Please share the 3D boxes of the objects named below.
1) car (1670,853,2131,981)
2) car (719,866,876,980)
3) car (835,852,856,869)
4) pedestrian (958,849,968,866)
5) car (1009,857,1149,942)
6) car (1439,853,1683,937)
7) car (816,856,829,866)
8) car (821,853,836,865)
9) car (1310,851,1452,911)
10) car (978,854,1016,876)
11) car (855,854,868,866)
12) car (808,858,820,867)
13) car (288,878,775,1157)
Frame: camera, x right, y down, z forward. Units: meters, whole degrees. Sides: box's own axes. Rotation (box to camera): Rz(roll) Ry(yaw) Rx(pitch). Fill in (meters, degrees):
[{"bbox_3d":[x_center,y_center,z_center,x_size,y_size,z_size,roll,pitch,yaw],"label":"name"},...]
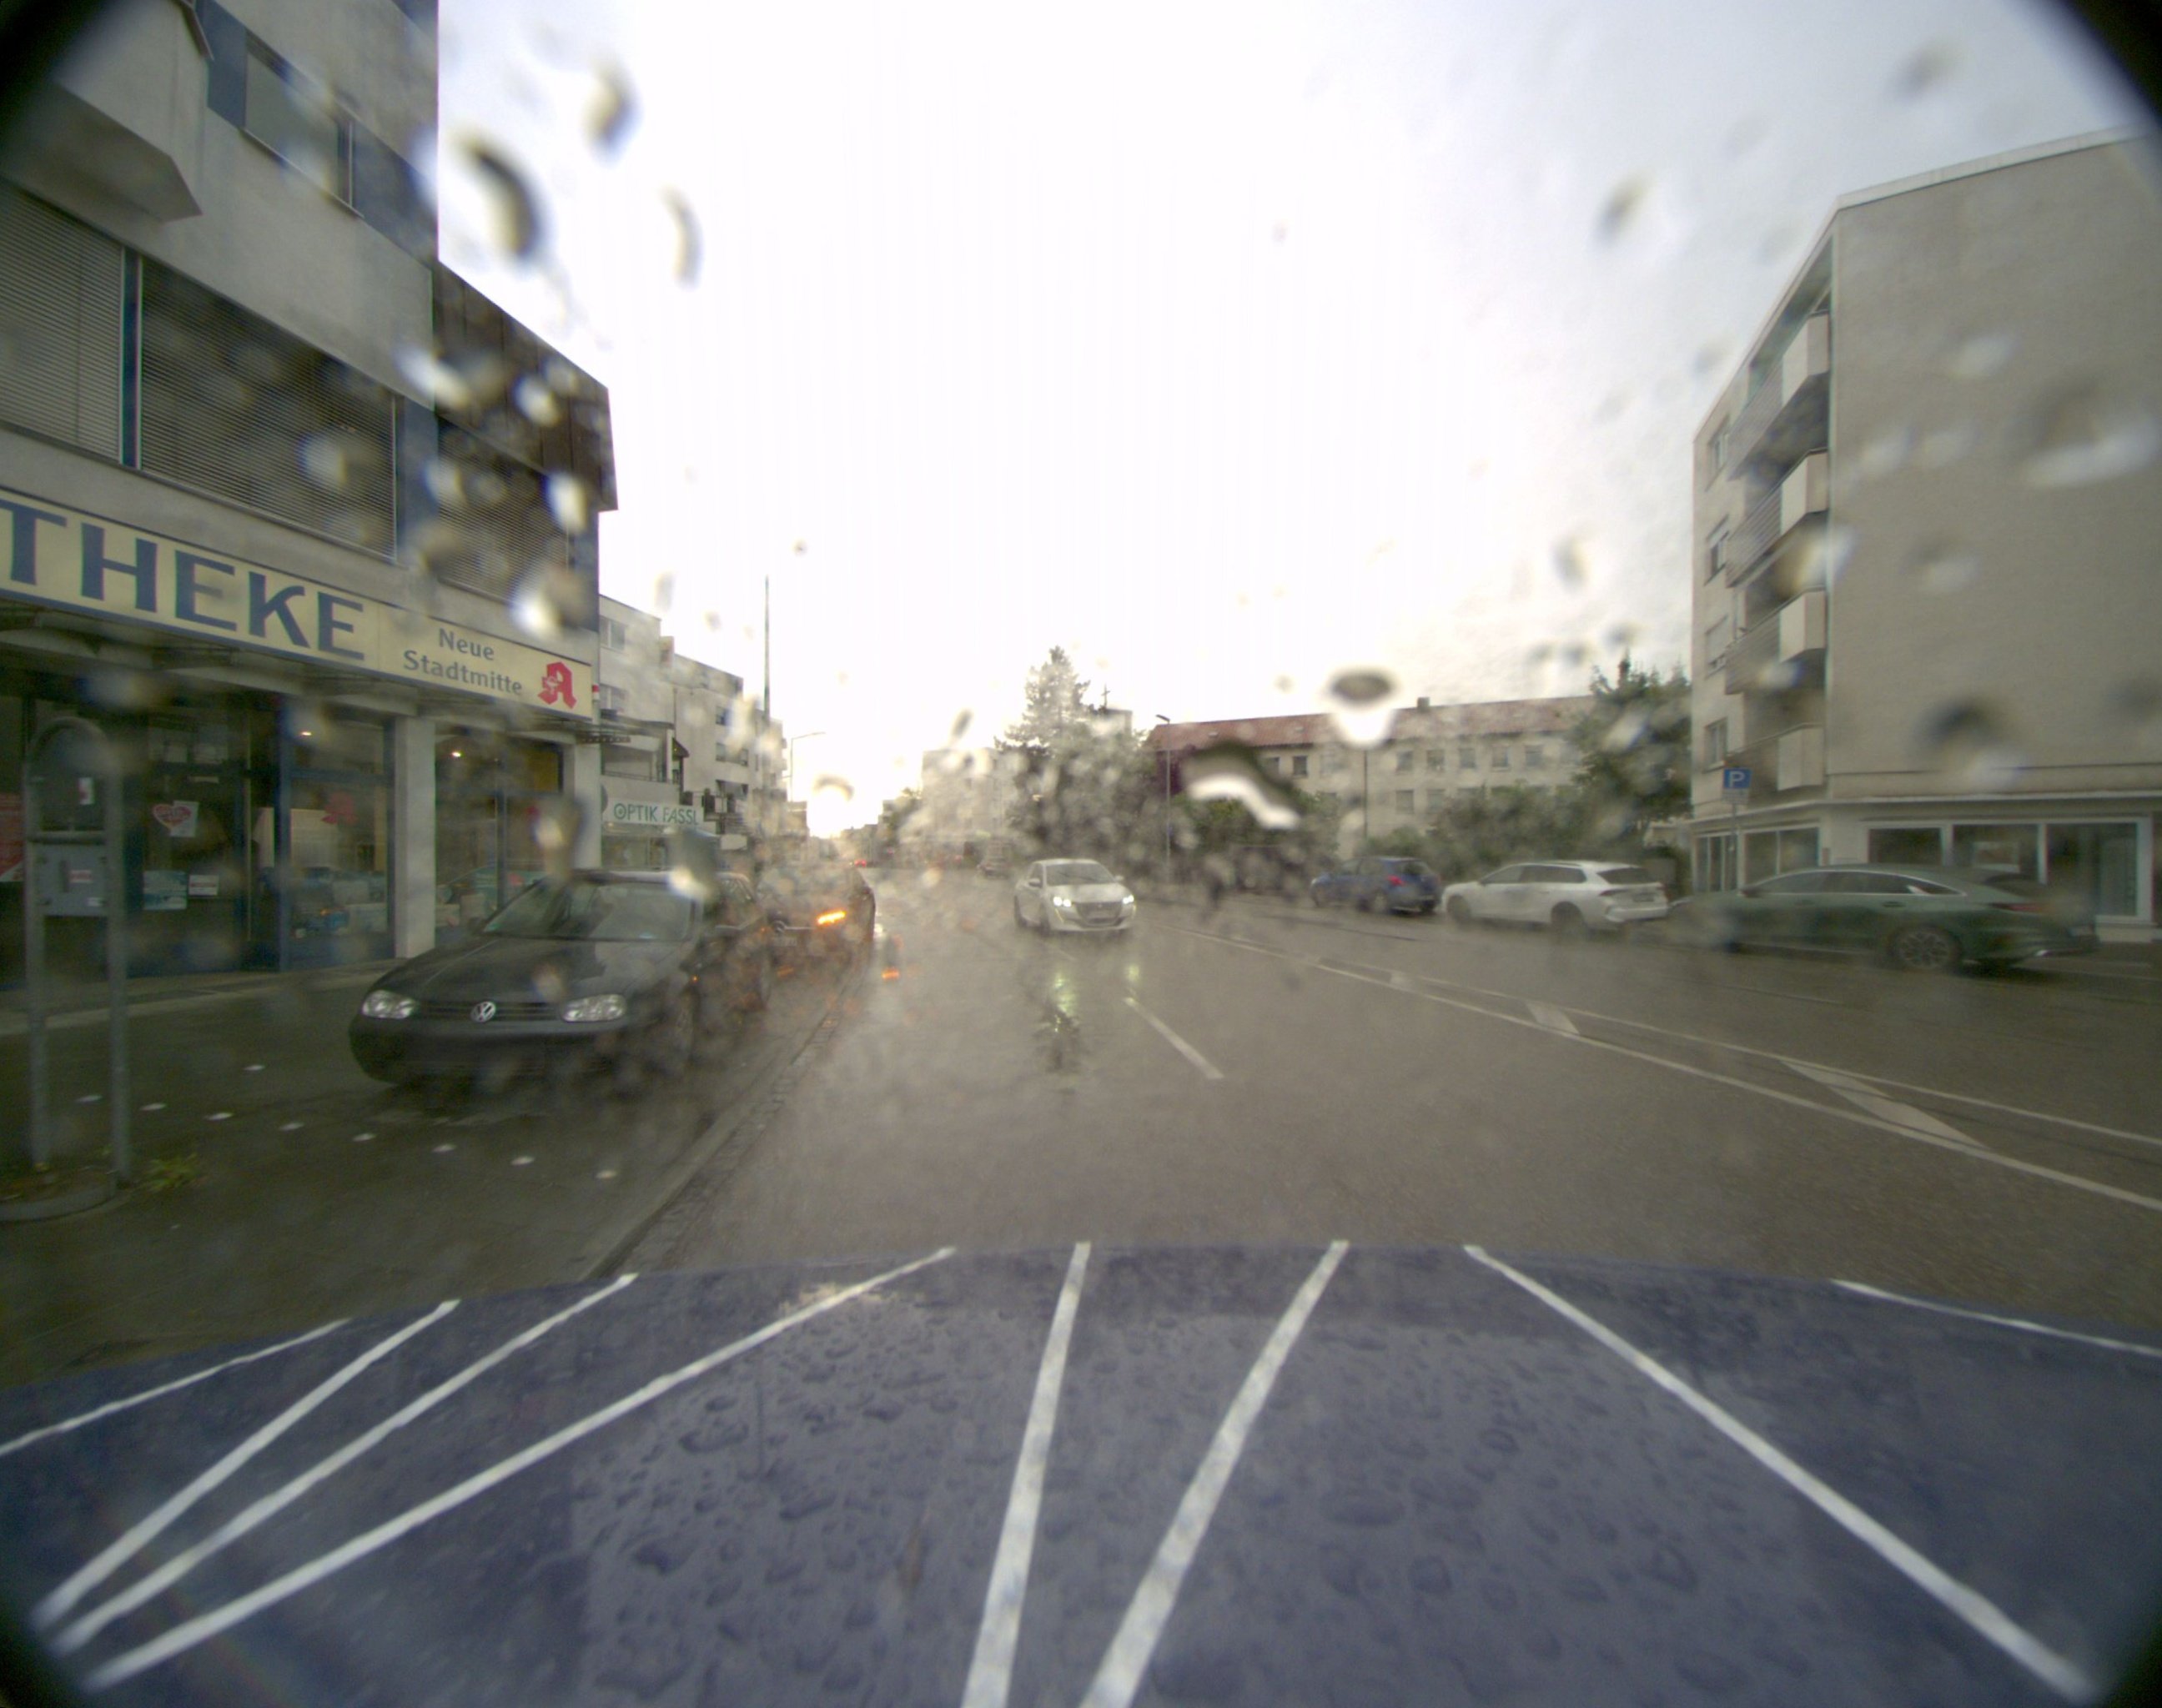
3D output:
[{"bbox_3d":[11.613,0.737,11.253,1.839,1.426,4.266,-2,1,-19],"label":"car"},{"bbox_3d":[-4.309,0.950,12.140,1.660,1.416,3.996,0,0,-10],"label":"car"},{"bbox_3d":[-22.151,0.612,71.442,1.737,1.436,4.039,-2,1,-19],"label":"car"},{"bbox_3d":[-12.840,0.367,82.378,0.857,1.726,0.834,-1,2,-27],"label":"pedestrian"},{"bbox_3d":[-0.194,0.803,15.233,1.745,1.401,3.890,-2,0,-16],"label":"car"},{"bbox_3d":[9.945,0.738,16.203,1.639,1.491,4.339,-1,1,-19],"label":"car"},{"bbox_3d":[-40.952,1.125,120.435,1.804,1.361,3.965,-1,1,-22],"label":"car"},{"bbox_3d":[-33.053,0.625,99.376,1.736,1.519,4.057,-1,0,-19],"label":"car"},{"bbox_3d":[8.340,0.674,21.501,1.635,1.497,3.874,-1,1,-18],"label":"car"},{"bbox_3d":[-5.804,0.707,52.043,1.874,1.428,3.734,-1,1,-18],"label":"car"},{"bbox_3d":[-39.949,1.124,138.351,2.001,2.002,3.993,-3,1,-19],"label":"car"},{"bbox_3d":[-49.927,1.519,142.223,2.001,1.606,3.993,-2,1,-18],"label":"car"},{"bbox_3d":[-3.730,0.955,6.036,1.656,1.364,3.727,2,0,-10],"label":"car"}]
